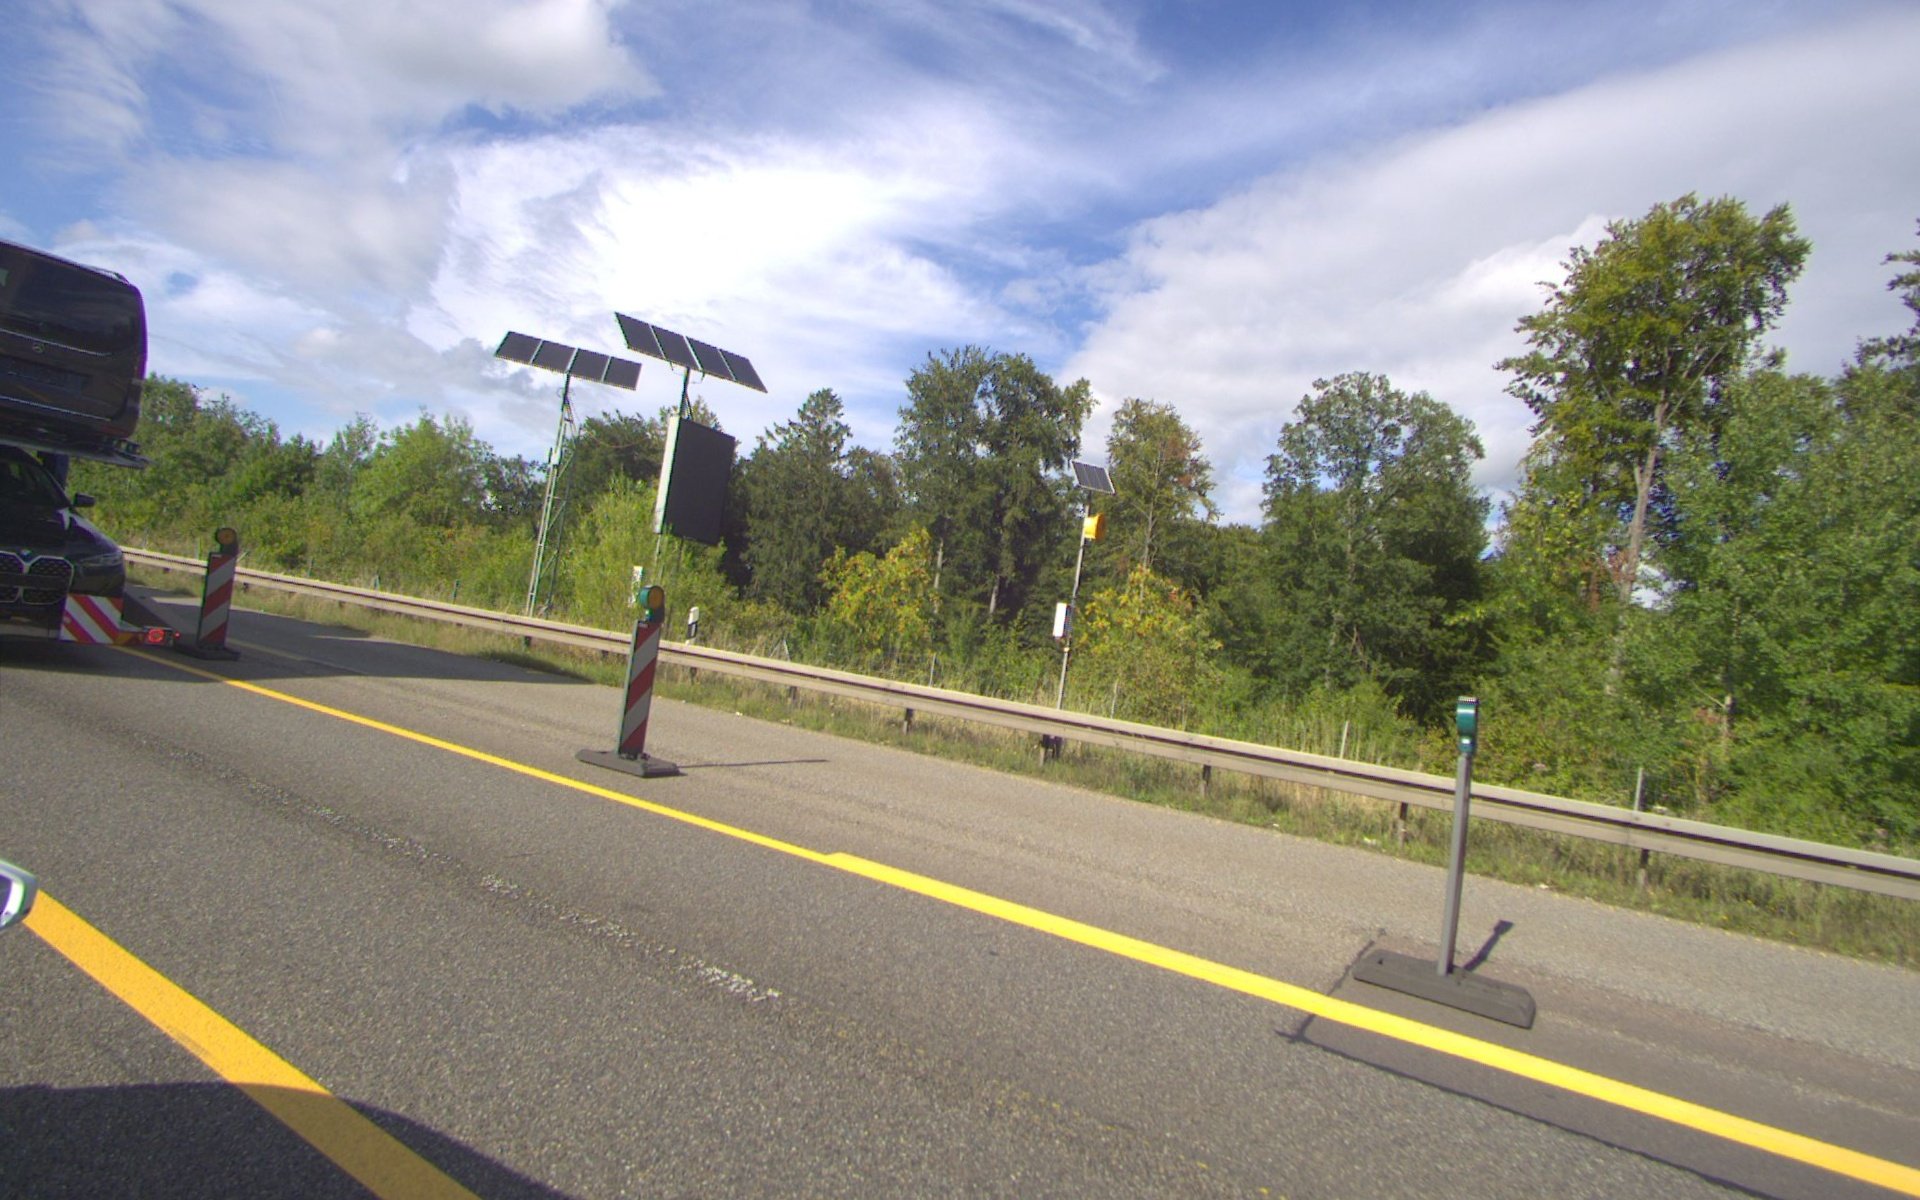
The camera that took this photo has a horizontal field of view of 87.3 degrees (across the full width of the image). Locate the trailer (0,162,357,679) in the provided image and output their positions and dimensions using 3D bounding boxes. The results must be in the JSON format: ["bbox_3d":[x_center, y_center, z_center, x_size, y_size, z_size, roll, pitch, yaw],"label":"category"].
[{"bbox_3d":[-14.515,-2.207,13.416,15.956,4.245,3.734,6,-2,31],"label":"trailer"}]
